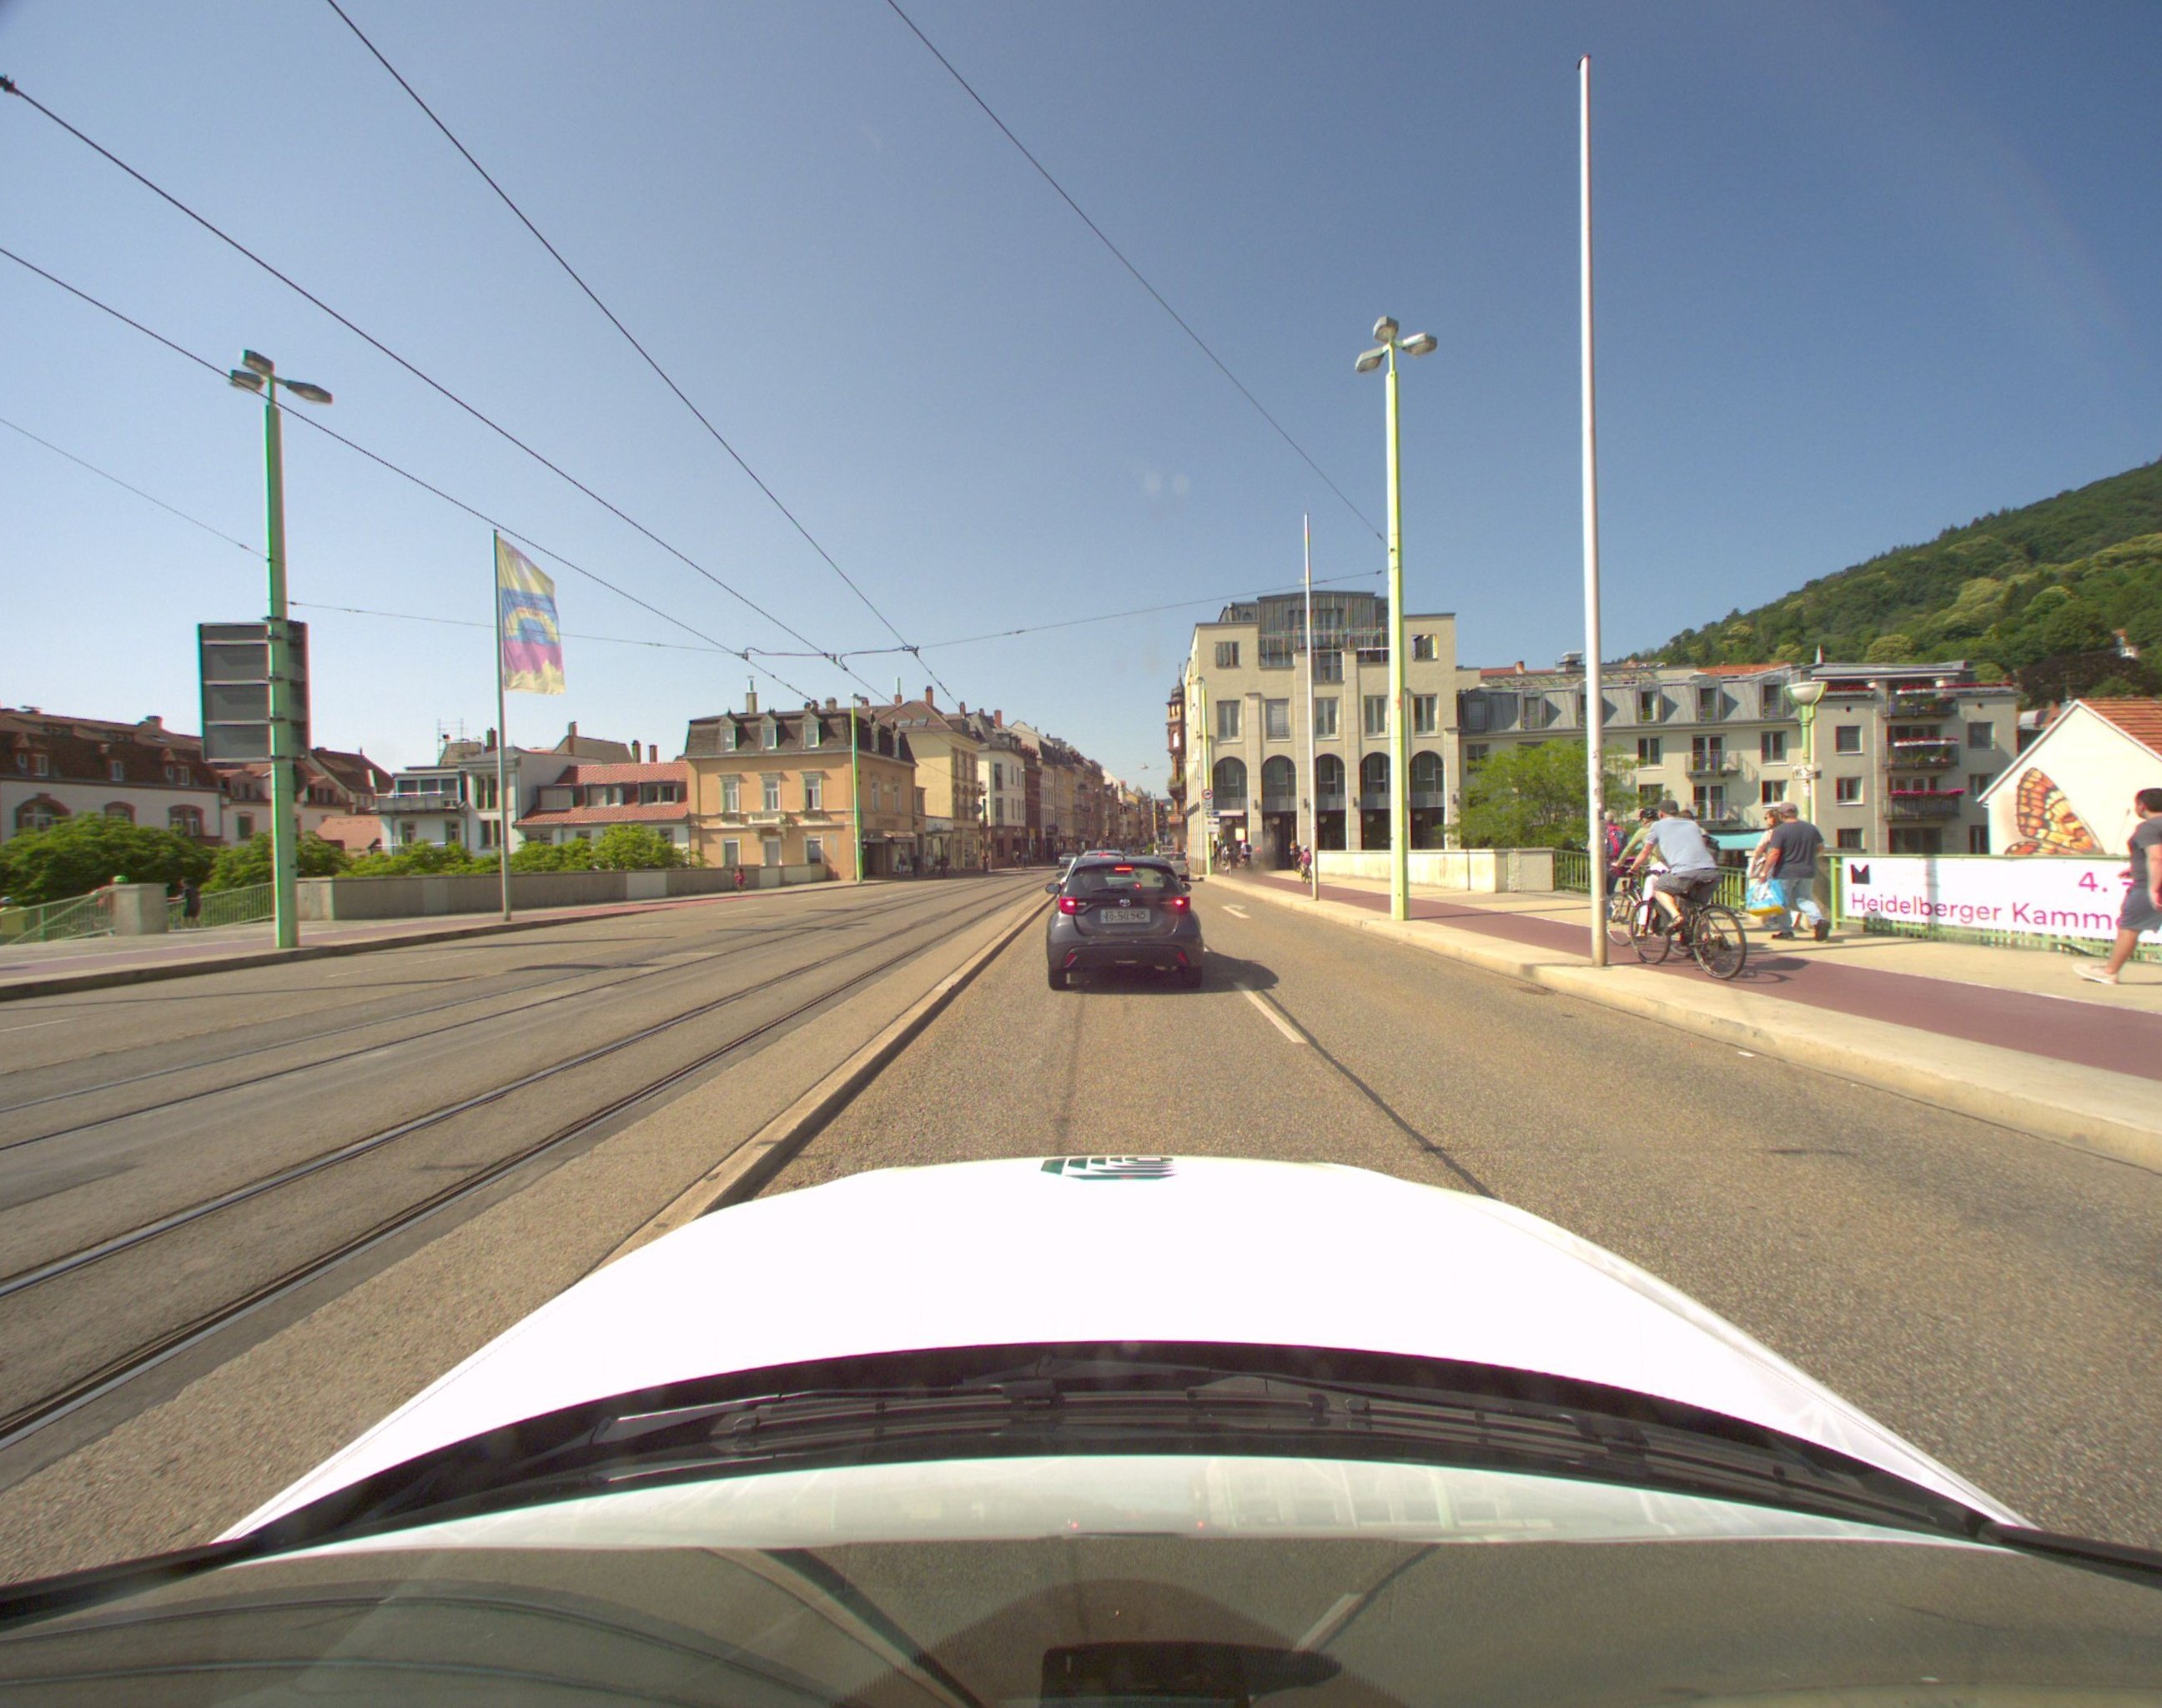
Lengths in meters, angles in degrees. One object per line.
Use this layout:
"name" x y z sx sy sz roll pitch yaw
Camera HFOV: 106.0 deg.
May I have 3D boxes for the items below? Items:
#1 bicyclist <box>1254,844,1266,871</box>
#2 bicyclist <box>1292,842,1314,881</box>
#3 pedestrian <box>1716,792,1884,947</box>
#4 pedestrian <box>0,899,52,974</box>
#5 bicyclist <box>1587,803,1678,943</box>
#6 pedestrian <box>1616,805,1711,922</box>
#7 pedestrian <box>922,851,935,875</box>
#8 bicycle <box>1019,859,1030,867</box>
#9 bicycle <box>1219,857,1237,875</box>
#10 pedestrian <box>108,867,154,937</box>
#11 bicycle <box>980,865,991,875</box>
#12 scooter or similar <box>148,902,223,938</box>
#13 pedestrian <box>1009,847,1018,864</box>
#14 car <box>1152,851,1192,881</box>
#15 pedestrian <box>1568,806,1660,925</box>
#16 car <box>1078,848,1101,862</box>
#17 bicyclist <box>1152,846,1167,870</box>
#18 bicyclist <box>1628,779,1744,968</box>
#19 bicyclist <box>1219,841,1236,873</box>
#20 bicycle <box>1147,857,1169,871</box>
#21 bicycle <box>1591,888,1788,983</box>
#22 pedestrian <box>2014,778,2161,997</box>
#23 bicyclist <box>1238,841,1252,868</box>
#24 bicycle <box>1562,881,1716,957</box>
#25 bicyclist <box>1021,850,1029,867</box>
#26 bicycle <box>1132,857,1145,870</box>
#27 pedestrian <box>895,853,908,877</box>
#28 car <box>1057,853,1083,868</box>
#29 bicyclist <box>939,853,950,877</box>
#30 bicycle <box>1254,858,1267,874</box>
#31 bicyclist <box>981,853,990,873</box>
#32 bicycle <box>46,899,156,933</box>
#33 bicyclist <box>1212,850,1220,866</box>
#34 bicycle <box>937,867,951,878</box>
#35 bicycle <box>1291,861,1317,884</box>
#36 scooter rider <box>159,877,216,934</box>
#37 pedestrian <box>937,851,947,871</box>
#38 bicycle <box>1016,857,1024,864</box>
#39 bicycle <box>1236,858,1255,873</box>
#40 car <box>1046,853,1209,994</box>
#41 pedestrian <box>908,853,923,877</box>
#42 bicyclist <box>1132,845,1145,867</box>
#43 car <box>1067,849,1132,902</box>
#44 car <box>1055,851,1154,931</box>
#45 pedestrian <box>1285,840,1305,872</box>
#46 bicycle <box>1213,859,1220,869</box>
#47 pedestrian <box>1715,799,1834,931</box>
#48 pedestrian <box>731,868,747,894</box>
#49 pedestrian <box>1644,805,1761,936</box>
"bicyclist" 9.358 0.207 42.592 0.420 1.383 0.443 -3 0 1
"bicyclist" 8.025 0.264 29.437 0.532 1.383 0.669 -3 0 1
"pedestrian" 8.997 0.182 10.263 0.974 1.777 1.207 -3 0 1
"pedestrian" -26.634 2.057 20.373 0.741 1.781 0.803 -2 0 6
"bicyclist" 6.832 0.225 10.123 0.585 1.650 0.702 -2 0 -1
"pedestrian" 9.363 0.139 13.128 0.736 1.777 1.016 -3 0 1
"pedestrian" -11.376 0.661 60.754 0.733 1.766 0.787 3 0 2
"bicycle" -5.590 0.918 80.680 0.616 0.716 2.051 0 1 11
"bicycle" 7.908 0.642 43.800 0.701 0.882 1.526 -2 0 2
"pedestrian" -22.481 1.121 19.279 0.622 1.632 0.414 1 0 5
"bicycle" -7.901 1.311 67.297 0.618 0.716 1.732 0 1 2
"scooter or similar" -22.130 1.626 20.137 0.774 0.782 0.964 3 0 13
"pedestrian" -7.112 0.178 85.845 0.733 1.766 0.787 -1 1 2
"car" 4.705 0.589 42.375 1.699 1.466 4.327 0 0 1
"pedestrian" 8.538 0.173 13.094 0.736 1.802 1.016 -3 0 1
"car" 1.038 0.120 96.911 1.981 1.586 4.665 -2 0 10
"bicyclist" 8.522 0.430 88.333 1.232 2.529 1.098 3 0 -20
"bicyclist" 6.146 0.191 8.310 0.585 1.820 0.702 -2 0 -1
"bicyclist" 7.881 0.145 43.754 0.699 1.695 0.925 -2 0 2
"bicycle" 8.380 1.094 88.584 1.116 1.420 2.987 2 0 -20
"bicycle" 6.163 0.784 8.400 0.592 0.765 1.866 -3 0 -1
"pedestrian" 8.825 0.243 6.837 0.736 1.718 1.016 -3 0 1
"bicyclist" 9.030 0.033 44.858 0.487 1.466 0.438 -3 0 -38
"bicycle" 6.854 0.764 10.134 0.592 0.765 1.866 -3 0 -1
"bicyclist" -5.577 0.468 80.712 0.623 1.650 0.623 0 1 10
"bicycle" 6.725 1.141 95.082 1.109 1.420 3.004 2 0 -3
"pedestrian" -12.437 0.784 56.423 0.646 1.602 0.566 3 2 2
"car" -1.109 0.632 83.613 1.720 1.460 4.387 -2 0 11
"bicyclist" -9.516 0.781 56.929 0.625 1.650 0.622 0 1 2
"bicycle" 9.384 0.625 42.591 0.415 0.765 0.962 -3 0 2
"bicyclist" -7.883 0.757 67.321 0.625 1.650 0.622 0 1 2
"bicycle" -22.693 1.430 18.869 1.918 0.716 0.623 0 1 4
"bicyclist" 10.958 0.313 65.936 0.535 1.316 0.673 -3 0 5
"bicycle" -9.521 1.282 56.822 0.618 0.716 1.772 0 1 2
"bicycle" 8.042 0.662 29.441 0.512 0.765 1.661 -3 0 2
"scooter rider" -22.081 1.265 20.137 0.763 1.315 0.600 3 0 13
"pedestrian" -11.553 0.605 67.867 0.646 1.602 0.566 3 2 2
"bicycle" -6.411 0.682 85.555 0.618 0.716 1.772 0 1 2
"bicycle" 9.075 0.640 44.844 0.420 0.765 0.951 -3 0 -37
"car" 0.535 0.732 10.420 1.713 1.473 3.659 0 0 1
"pedestrian" -11.449 0.768 56.387 0.757 1.654 0.713 3 0 9
"bicyclist" 6.715 0.200 94.928 1.225 2.529 1.104 3 0 -3
"car" 0.579 0.607 25.641 1.890 1.530 4.001 0 0 1
"car" 0.498 0.703 17.635 1.890 1.530 4.001 0 0 1
"pedestrian" 10.973 0.099 41.780 0.736 1.614 1.016 3 0 1
"bicycle" 10.979 0.791 65.997 0.414 0.765 1.207 -3 0 5
"pedestrian" 9.751 0.151 11.489 0.736 1.746 1.016 -3 0 1
"pedestrian" -15.382 1.210 36.632 0.409 1.146 0.546 3 0 8
"pedestrian" 8.704 0.215 11.459 0.752 1.718 1.073 -3 0 1
